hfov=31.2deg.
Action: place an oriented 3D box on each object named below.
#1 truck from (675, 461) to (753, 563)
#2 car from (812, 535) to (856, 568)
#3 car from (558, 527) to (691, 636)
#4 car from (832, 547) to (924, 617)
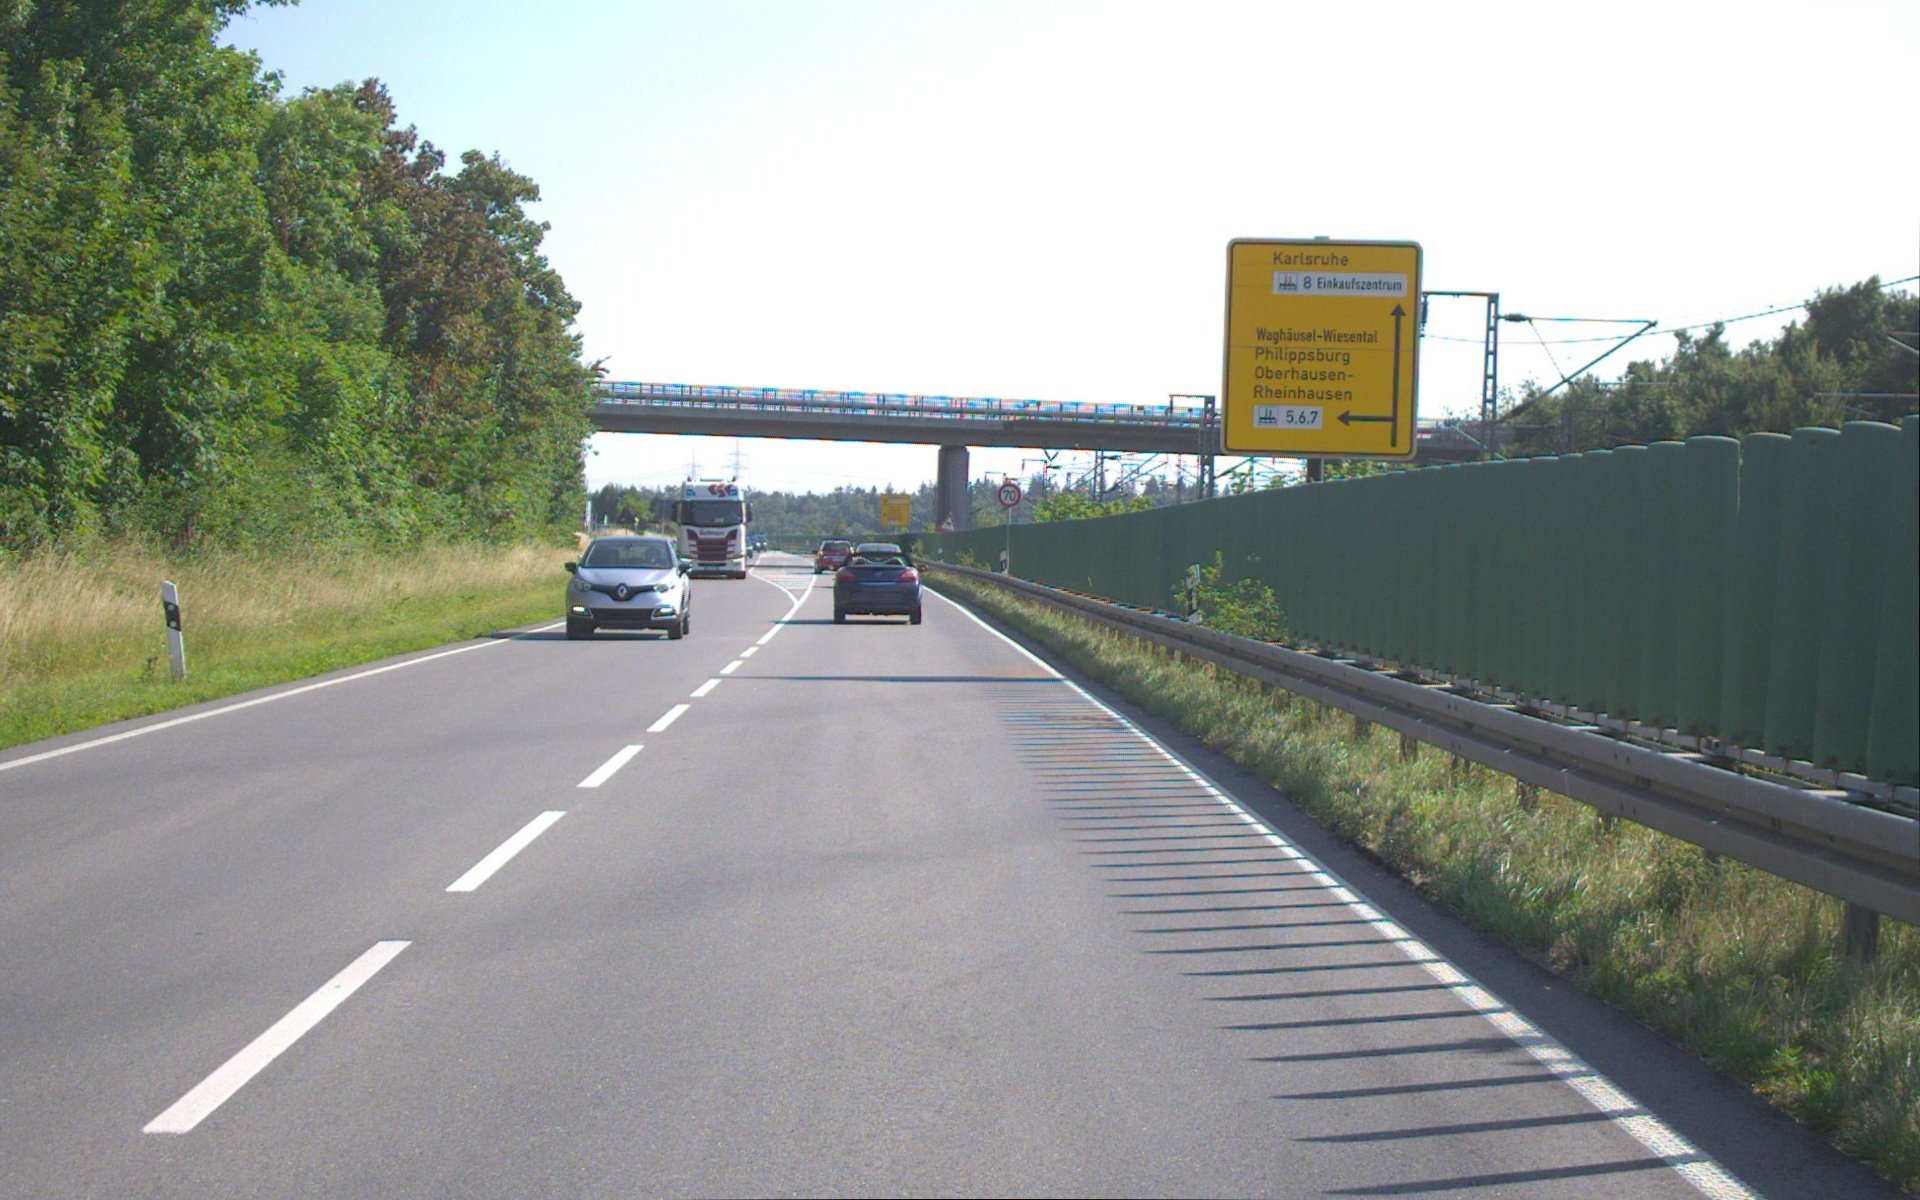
[{"bbox_3d":[-9.313,-3.314,130.877,2.559,3.676,10.489,1,1,-2],"label":"truck"},{"bbox_3d":[-5.579,-2.157,151.986,1.895,1.413,4.000,1,1,-2],"label":"car"},{"bbox_3d":[-5.155,-0.304,53.255,1.795,1.588,4.000,1,1,-2],"label":"car"},{"bbox_3d":[-1.575,-0.359,64.928,1.663,1.257,4.000,1,1,-2],"label":"car"}]
